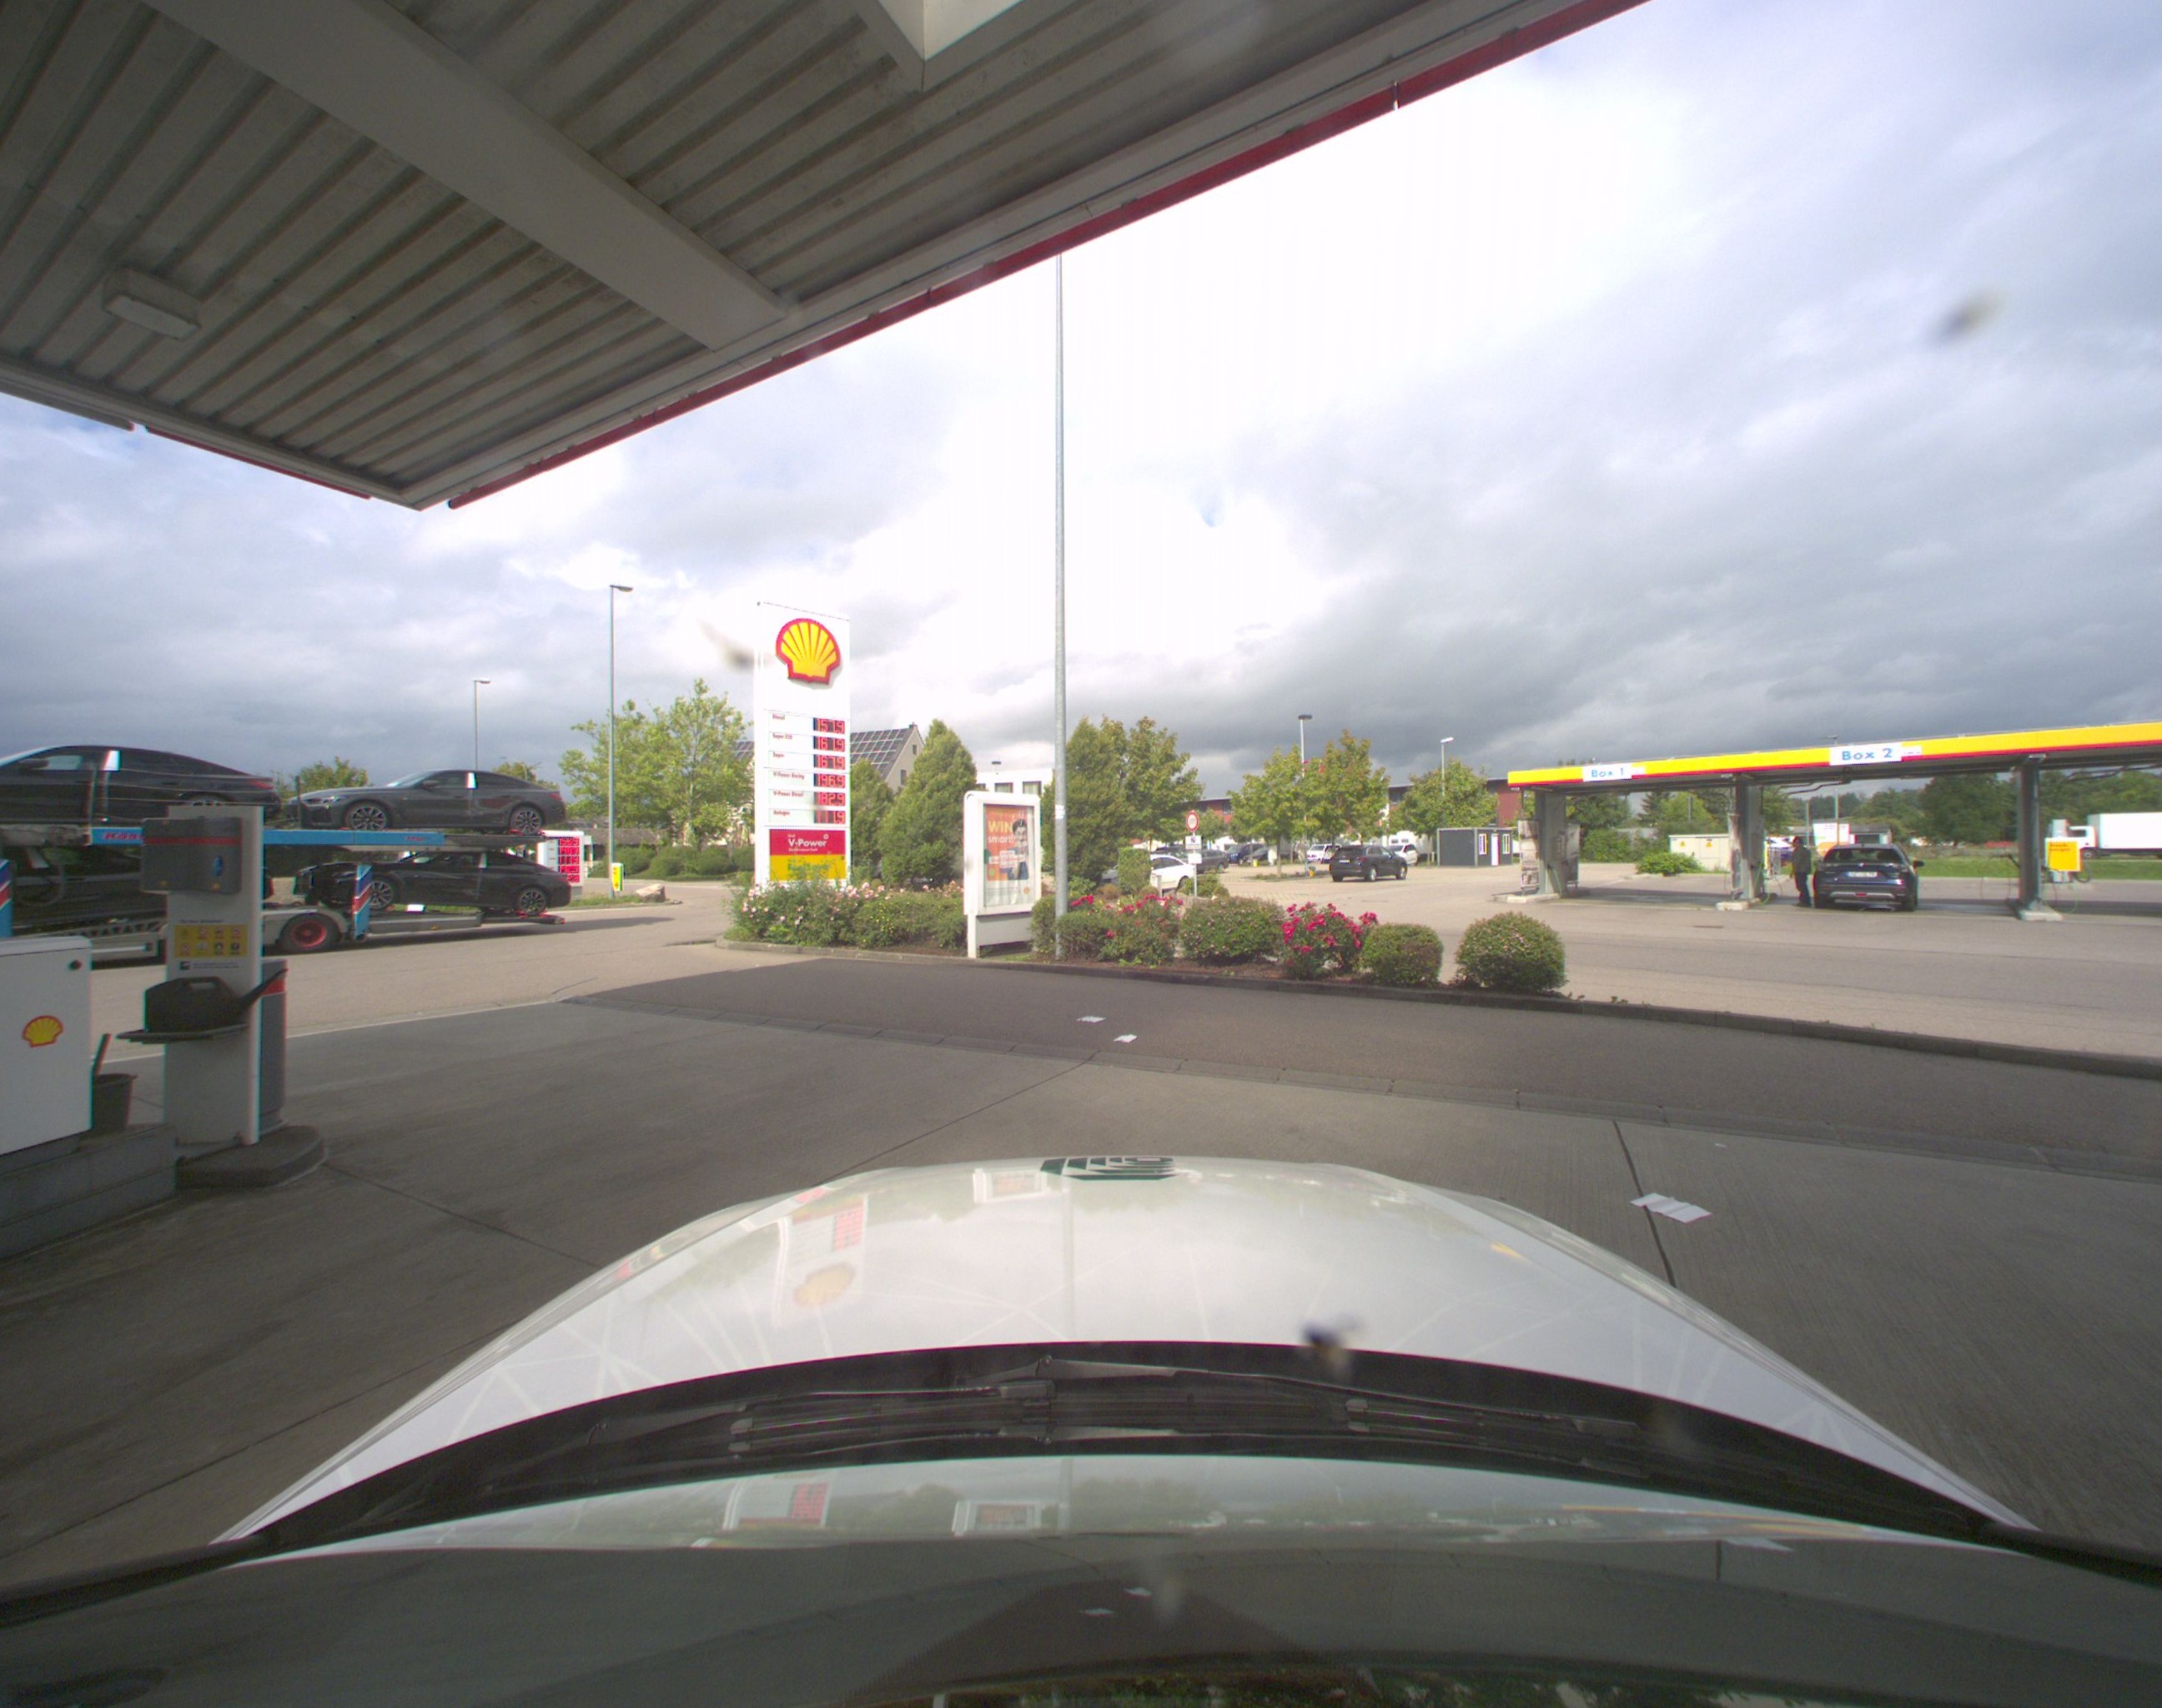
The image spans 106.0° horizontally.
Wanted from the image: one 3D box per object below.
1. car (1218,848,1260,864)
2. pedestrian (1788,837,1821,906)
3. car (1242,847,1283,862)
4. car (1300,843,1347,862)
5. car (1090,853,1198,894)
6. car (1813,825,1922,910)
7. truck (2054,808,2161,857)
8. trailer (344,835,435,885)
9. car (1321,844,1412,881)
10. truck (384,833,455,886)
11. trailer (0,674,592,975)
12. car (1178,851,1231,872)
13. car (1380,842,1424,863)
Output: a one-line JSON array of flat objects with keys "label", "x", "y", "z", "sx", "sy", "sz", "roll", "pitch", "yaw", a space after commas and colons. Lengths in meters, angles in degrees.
[{"label": "car", "x": 12.955, "y": 0.166, "z": 66.664, "sx": 3.407, "sy": 1.320, "sz": 1.726, "roll": 0, "pitch": -1, "yaw": -42}, {"label": "pedestrian", "x": 18.215, "y": 0.433, "z": 20.511, "sx": 0.551, "sy": 1.722, "sz": 0.531, "roll": -1, "pitch": -1, "yaw": 38}, {"label": "car", "x": 14.497, "y": 0.019, "z": 64.880, "sx": 3.437, "sy": 1.179, "sz": 1.468, "roll": 0, "pitch": -1, "yaw": -42}, {"label": "car", "x": 23.880, "y": -0.140, "z": 80.272, "sx": 4.903, "sy": 1.833, "sz": 2.159, "roll": 0, "pitch": -1, "yaw": -41}, {"label": "car", "x": 2.396, "y": 0.674, "z": 30.026, "sx": 4.368, "sy": 1.404, "sz": 1.354, "roll": 0, "pitch": -1, "yaw": -42}, {"label": "car", "x": 19.439, "y": 0.310, "z": 20.079, "sx": 3.828, "sy": 1.897, "sz": 1.703, "roll": 0, "pitch": -1, "yaw": -43}, {"label": "truck", "x": 78.235, "y": -1.567, "z": 60.006, "sx": 7.989, "sy": 3.534, "sz": 2.714, "roll": -1, "pitch": -1, "yaw": 41}, {"label": "trailer", "x": -57.025, "y": 0.513, "z": 66.995, "sx": 12.548, "sy": 3.776, "sz": 2.757, "roll": -1, "pitch": -1, "yaw": 36}, {"label": "car", "x": 12.878, "y": 0.364, "z": 36.584, "sx": 4.527, "sy": 1.548, "sz": 1.864, "roll": 0, "pitch": -1, "yaw": -41}, {"label": "truck", "x": -50.733, "y": 0.431, "z": 62.444, "sx": 5.842, "sy": 3.846, "sz": 2.759, "roll": -1, "pitch": -1, "yaw": 36}, {"label": "trailer", "x": -16.434, "y": -0.421, "z": 13.691, "sx": 2.711, "sy": 4.423, "sz": 14.450, "roll": -1, "pitch": -1, "yaw": 31}, {"label": "car", "x": 7.543, "y": 0.435, "z": 49.710, "sx": 3.245, "sy": 1.228, "sz": 1.488, "roll": 0, "pitch": -1, "yaw": -42}, {"label": "car", "x": 20.611, "y": -0.059, "z": 52.219, "sx": 3.120, "sy": 1.307, "sz": 1.352, "roll": 0, "pitch": -1, "yaw": -42}]
